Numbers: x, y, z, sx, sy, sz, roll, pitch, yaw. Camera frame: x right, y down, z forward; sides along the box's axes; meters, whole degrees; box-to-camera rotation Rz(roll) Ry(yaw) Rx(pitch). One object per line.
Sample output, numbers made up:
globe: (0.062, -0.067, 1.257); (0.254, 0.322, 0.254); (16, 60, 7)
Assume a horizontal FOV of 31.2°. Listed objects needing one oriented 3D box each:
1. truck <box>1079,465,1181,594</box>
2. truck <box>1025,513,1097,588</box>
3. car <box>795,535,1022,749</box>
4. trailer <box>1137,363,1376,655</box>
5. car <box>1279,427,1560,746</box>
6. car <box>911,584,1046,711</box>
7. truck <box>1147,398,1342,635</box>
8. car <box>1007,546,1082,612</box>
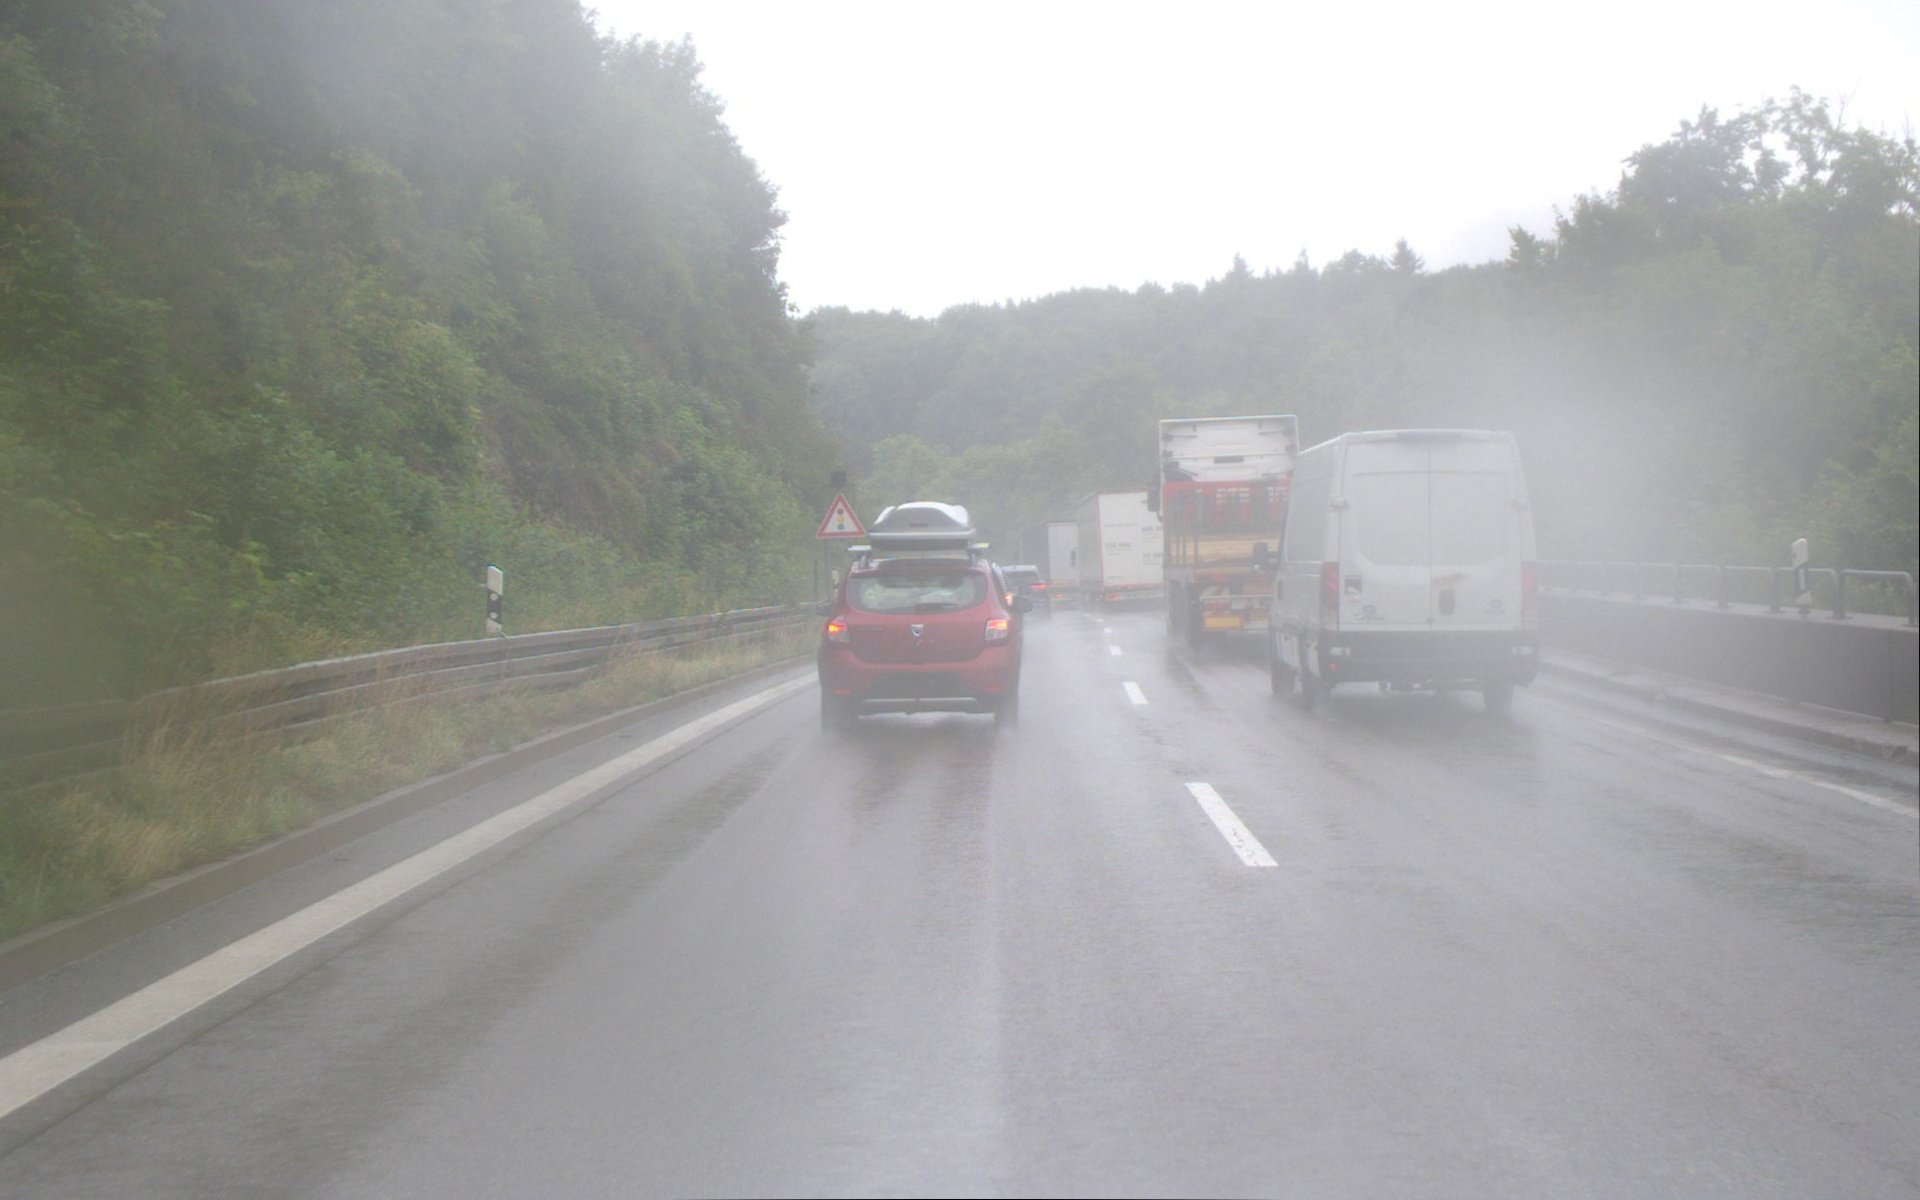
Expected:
truck: (5.770, -2.358, 118.137); (2.687, 4.080, 9.315); (-4, 0, -1)
truck: (4.509, -2.237, 155.277); (3.062, 3.300, 8.071); (0, 1, 1)
car: (-0.392, 0.333, 30.658); (1.758, 1.679, 4.000); (-4, 0, 2)
trailer: (4.567, -1.350, 54.599); (3.219, 3.985, 13.522); (-1, 1, 4)
car: (4.370, -0.160, 33.824); (2.206, 2.784, 7.382); (0, 1, 3)
car: (0.309, 0.680, 51.628); (1.833, 1.709, 3.645); (-4, 0, 2)
truck: (5.022, -1.447, 61.254); (3.220, 3.964, 5.438); (-1, 1, 4)
car: (2.317, -0.586, 95.135); (1.874, 1.700, 3.889); (-4, 0, 0)
